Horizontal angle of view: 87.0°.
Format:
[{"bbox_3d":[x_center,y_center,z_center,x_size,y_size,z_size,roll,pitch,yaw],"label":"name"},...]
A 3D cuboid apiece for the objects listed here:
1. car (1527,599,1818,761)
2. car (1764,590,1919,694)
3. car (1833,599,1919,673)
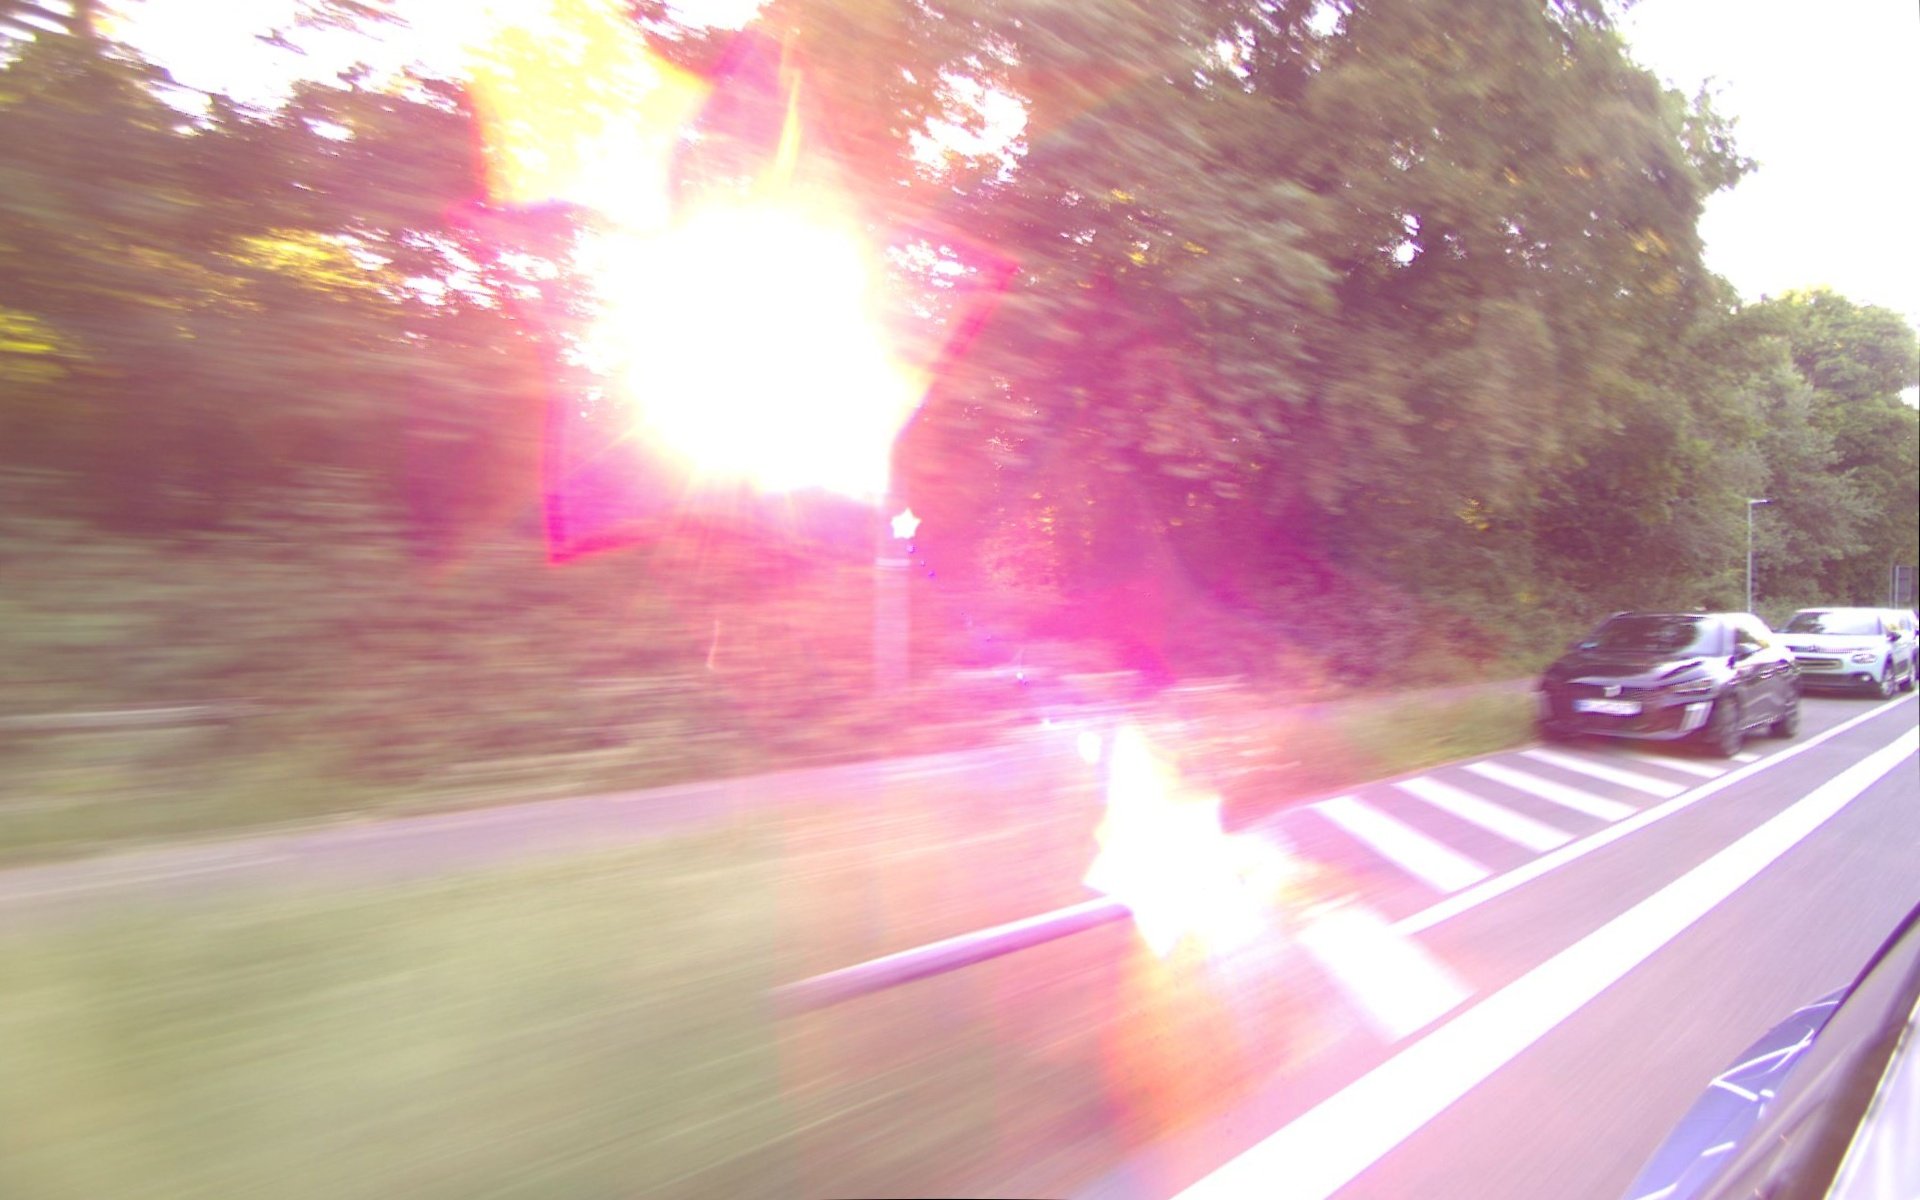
[{"bbox_3d":[8.012,0.736,11.243,4.050,1.463,1.714,0,0,-41],"label":"car"},{"bbox_3d":[15.608,0.646,17.676,4.039,1.565,1.692,0,1,-41],"label":"car"},{"bbox_3d":[20.690,0.733,22.405,3.893,1.464,1.581,0,1,-42],"label":"car"}]
